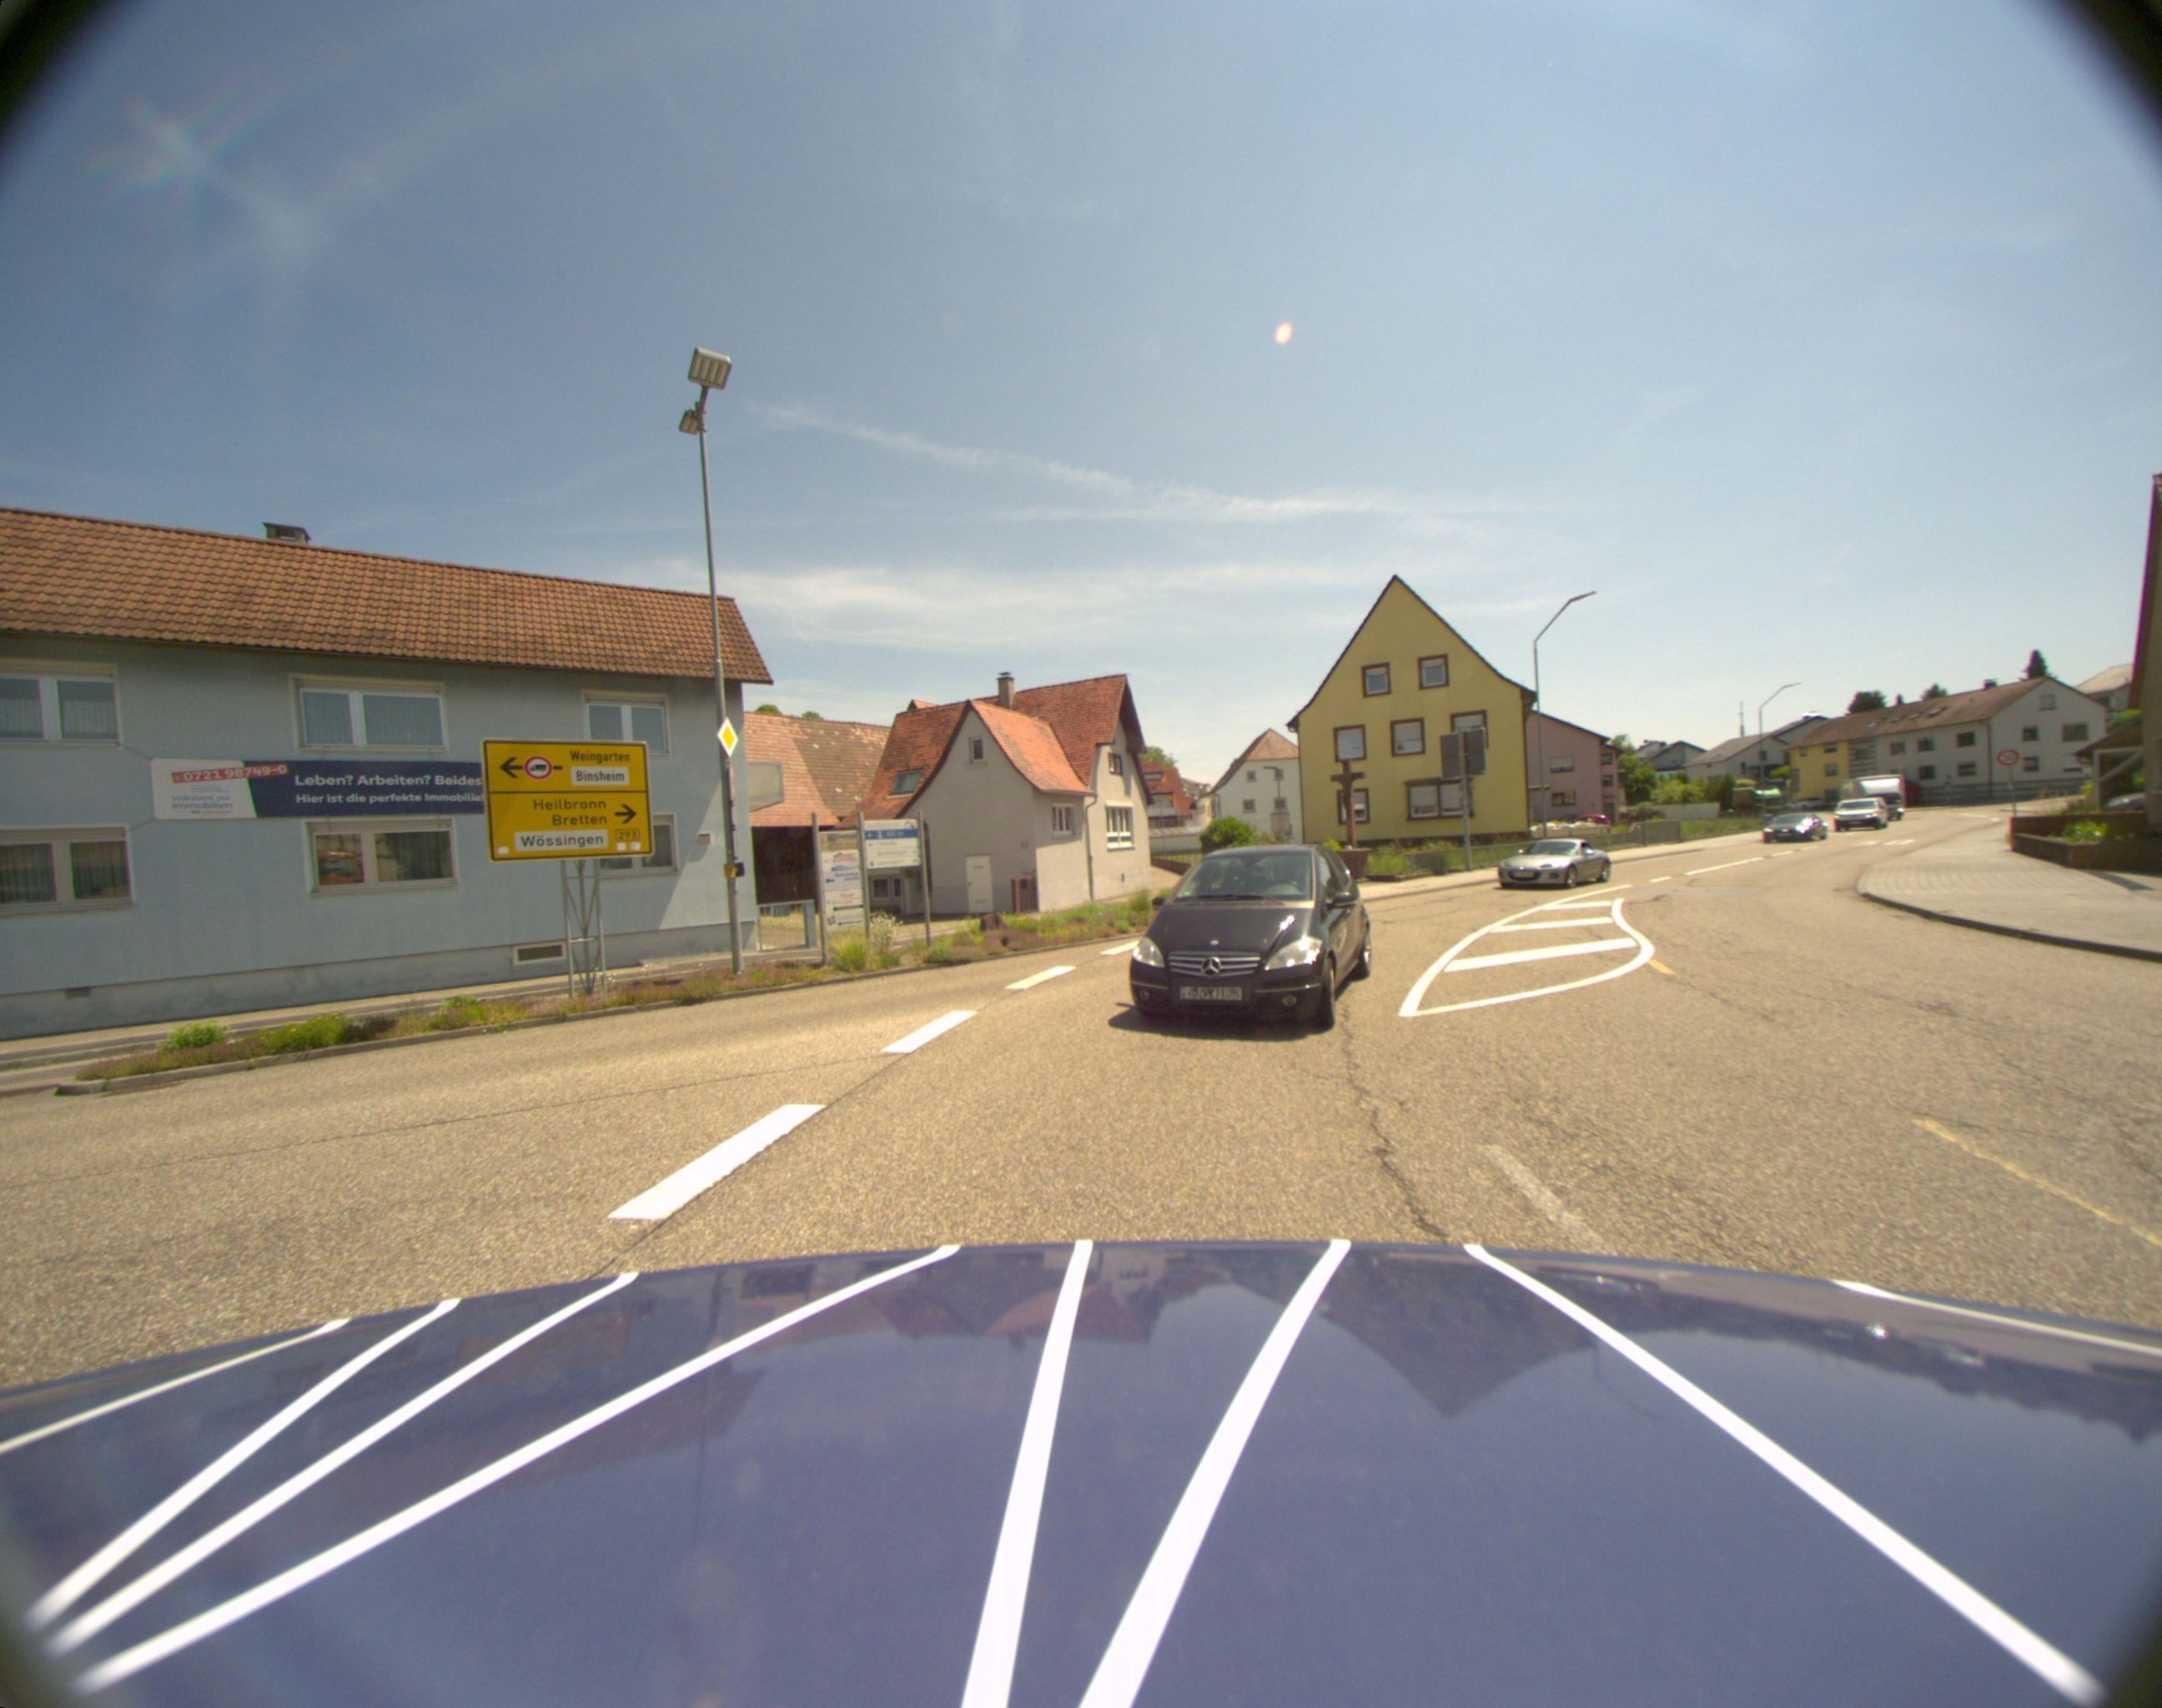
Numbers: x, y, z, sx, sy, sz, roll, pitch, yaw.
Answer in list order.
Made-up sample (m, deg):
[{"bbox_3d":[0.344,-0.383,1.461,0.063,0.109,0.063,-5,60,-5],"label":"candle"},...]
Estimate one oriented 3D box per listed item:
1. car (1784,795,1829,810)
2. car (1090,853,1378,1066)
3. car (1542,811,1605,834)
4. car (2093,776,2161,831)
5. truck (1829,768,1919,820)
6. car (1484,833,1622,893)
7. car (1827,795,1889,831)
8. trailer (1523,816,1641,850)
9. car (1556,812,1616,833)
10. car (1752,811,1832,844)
[{"bbox_3d":[84.854,-5.983,88.972,1.733,1.543,4.190,-4,1,10],"label":"car"},{"bbox_3d":[1.877,0.829,7.957,1.761,1.583,4.206,-3,-1,28],"label":"car"},{"bbox_3d":[40.533,-2.592,62.694,4.116,1.539,1.853,-4,1,27],"label":"car"},{"bbox_3d":[34.638,-1.642,23.380,1.868,1.629,4.127,-5,2,-35],"label":"car"},{"bbox_3d":[62.219,-4.615,59.829,3.197,3.579,8.321,-4,0,35],"label":"truck"},{"bbox_3d":[12.784,0.180,20.503,4.006,1.307,1.810,-4,4,-37],"label":"car"},{"bbox_3d":[47.423,-2.512,46.361,5.044,1.897,1.864,-4,0,-36],"label":"car"},{"bbox_3d":[28.750,-1.205,43.838,5.352,1.537,2.141,-4,1,25],"label":"trailer"},{"bbox_3d":[39.932,-2.475,60.147,3.827,1.478,1.764,-1,2,30],"label":"car"},{"bbox_3d":[34.957,-1.311,37.350,4.006,1.368,1.894,-4,1,-32],"label":"car"}]
